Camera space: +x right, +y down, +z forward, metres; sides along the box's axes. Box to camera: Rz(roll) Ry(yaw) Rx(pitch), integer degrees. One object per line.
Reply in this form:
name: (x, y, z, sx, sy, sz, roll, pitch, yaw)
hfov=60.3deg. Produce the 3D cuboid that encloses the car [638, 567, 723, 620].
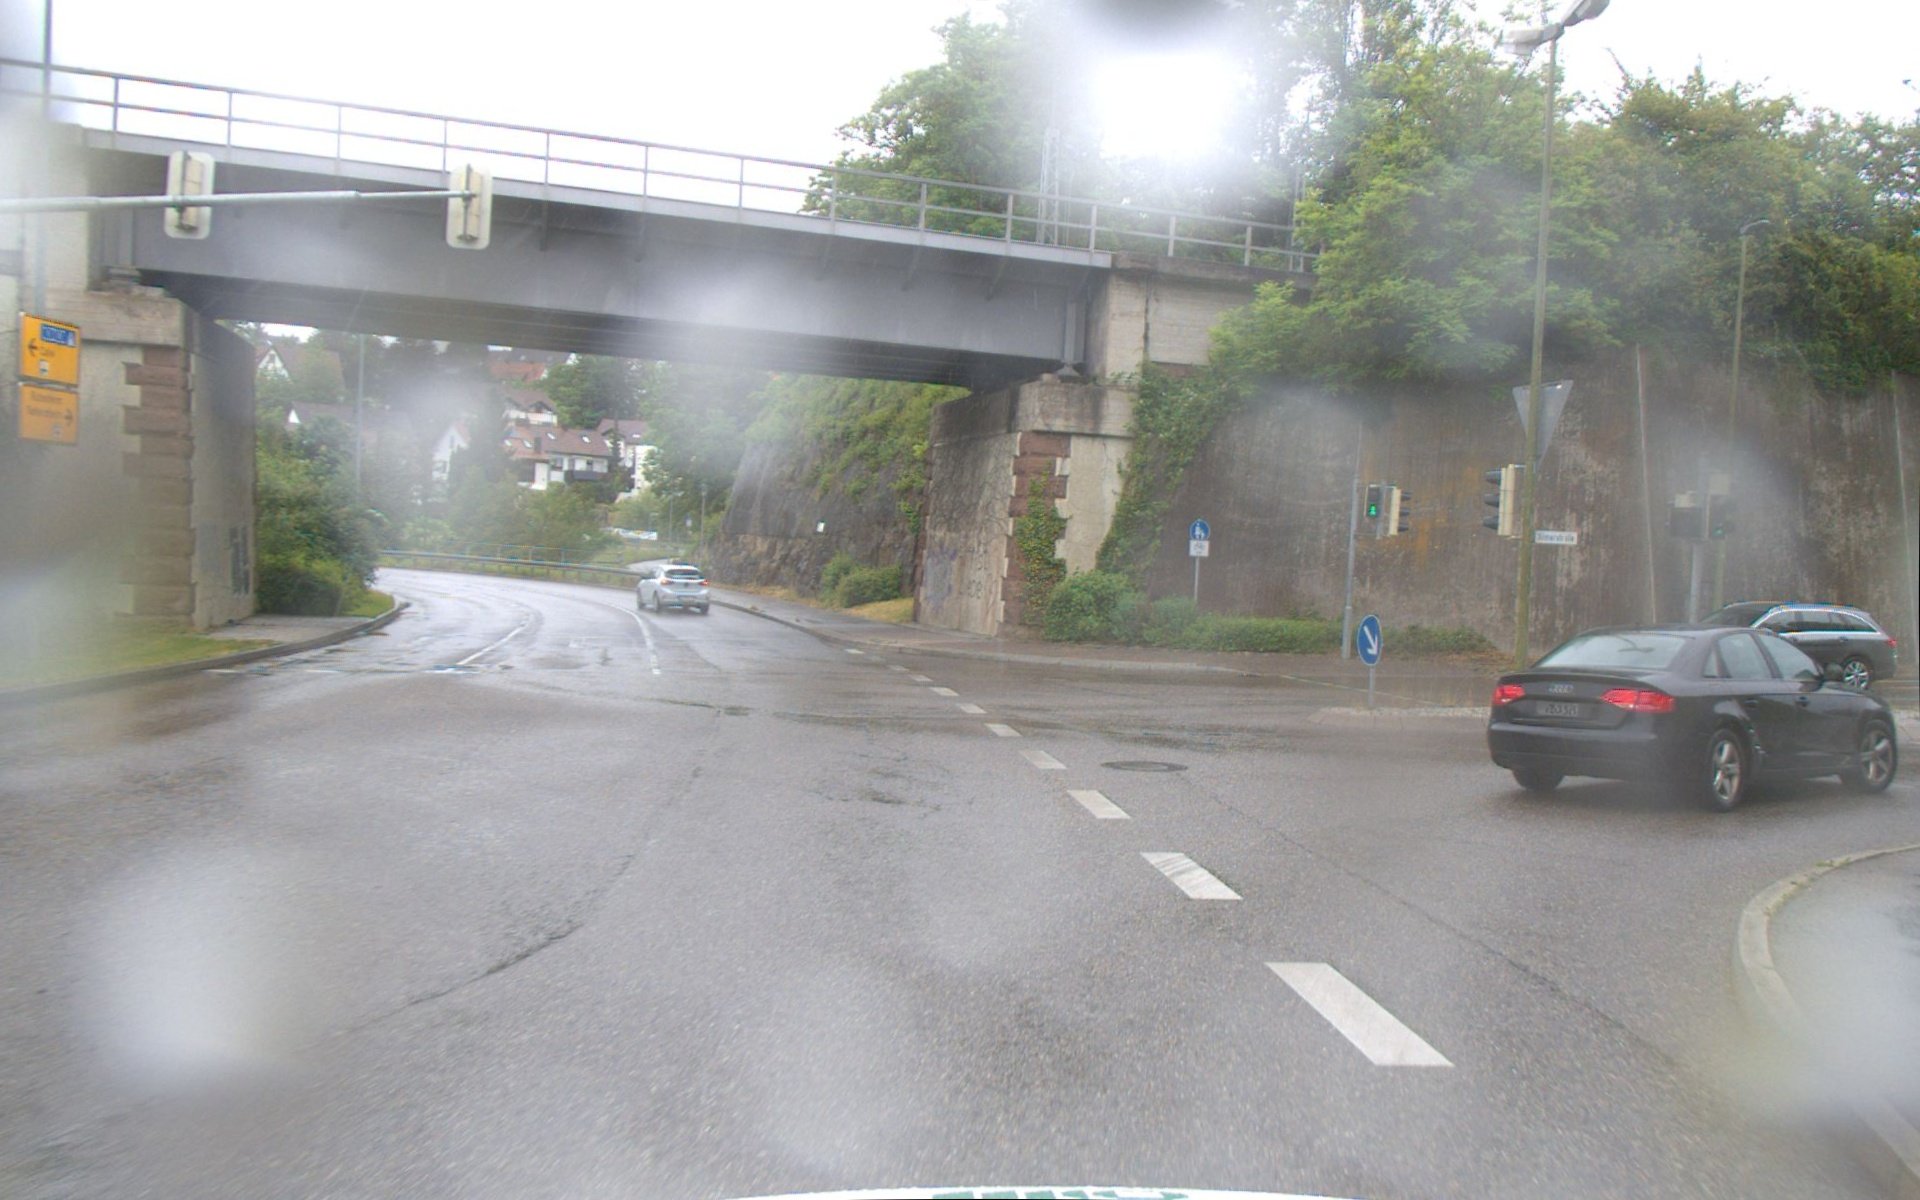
car: (-8.983, -0.208, 52.865, 1.964, 1.590, 3.976, 1, 0, -20)

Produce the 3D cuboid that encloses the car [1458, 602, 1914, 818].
car: (6.193, 0.819, 13.919, 4.167, 1.518, 1.872, 1, 0, -40)

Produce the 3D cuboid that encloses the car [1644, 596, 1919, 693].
car: (14.212, 0.741, 27.913, 4.630, 1.529, 1.994, 1, 0, -12)
